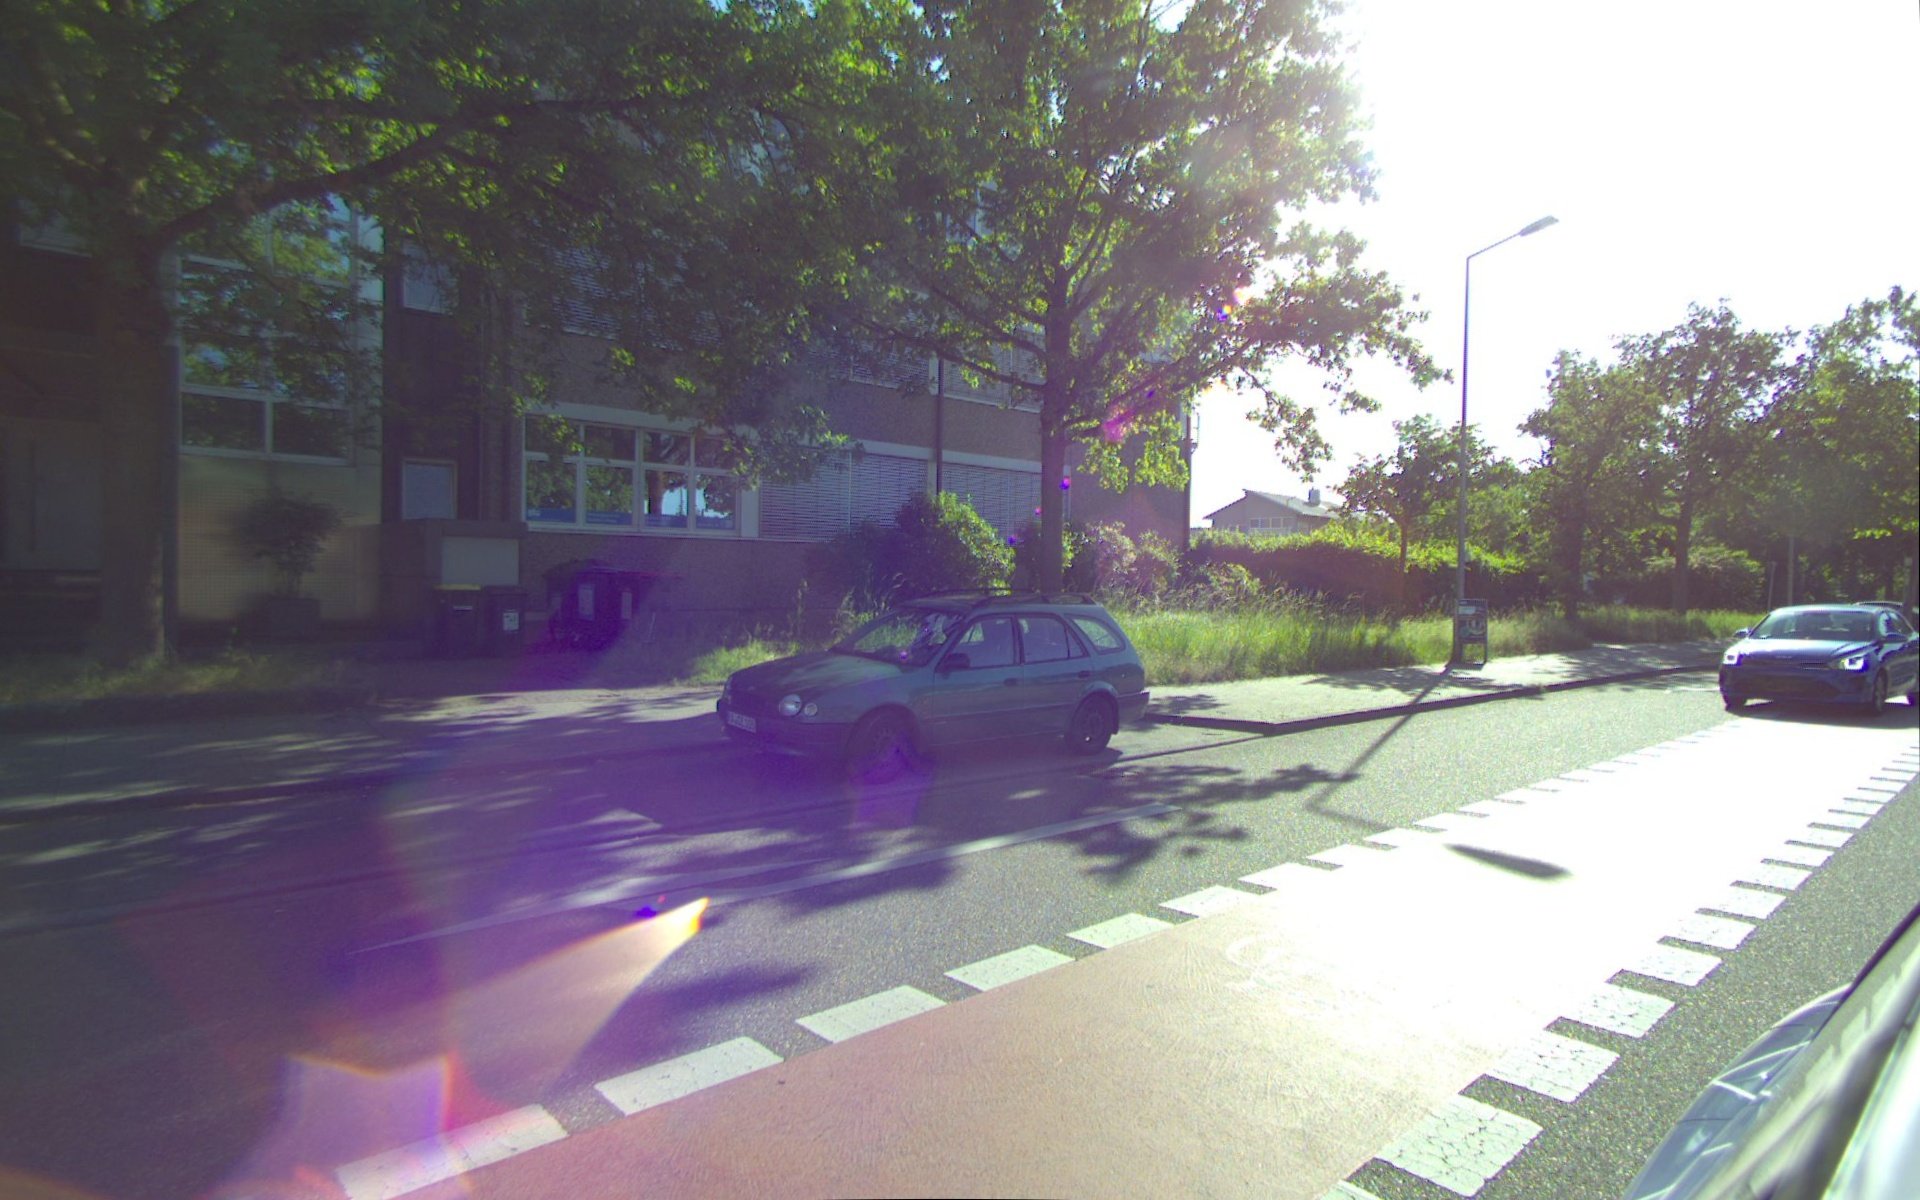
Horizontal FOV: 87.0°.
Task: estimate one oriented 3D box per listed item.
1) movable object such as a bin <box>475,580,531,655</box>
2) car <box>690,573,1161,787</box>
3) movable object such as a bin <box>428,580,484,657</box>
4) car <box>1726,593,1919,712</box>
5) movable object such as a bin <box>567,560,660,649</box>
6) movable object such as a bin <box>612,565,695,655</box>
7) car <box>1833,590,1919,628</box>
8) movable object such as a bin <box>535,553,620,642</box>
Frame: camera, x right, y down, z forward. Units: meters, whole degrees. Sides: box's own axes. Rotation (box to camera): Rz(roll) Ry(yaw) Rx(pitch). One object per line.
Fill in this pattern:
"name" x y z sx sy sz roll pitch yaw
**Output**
"movable object such as a bin" -6.761 0.244 14.974 0.604 1.075 0.634 0 1 -42
"car" -0.147 0.578 9.129 4.068 1.487 1.705 1 1 -41
"movable object such as a bin" -7.217 0.250 14.493 0.575 1.070 0.625 0 1 -42
"car" 12.679 0.649 14.543 3.867 1.487 1.654 0 0 -36
"movable object such as a bin" -5.774 0.047 16.856 1.070 1.388 1.186 0 2 -43
"movable object such as a bin" -4.784 0.129 15.769 0.878 1.323 1.186 0 2 -37
"car" 40.553 0.386 43.301 1.859 1.538 4.495 0 2 -29
"movable object such as a bin" -6.783 -0.069 17.937 1.024 1.501 1.309 0 2 -41
